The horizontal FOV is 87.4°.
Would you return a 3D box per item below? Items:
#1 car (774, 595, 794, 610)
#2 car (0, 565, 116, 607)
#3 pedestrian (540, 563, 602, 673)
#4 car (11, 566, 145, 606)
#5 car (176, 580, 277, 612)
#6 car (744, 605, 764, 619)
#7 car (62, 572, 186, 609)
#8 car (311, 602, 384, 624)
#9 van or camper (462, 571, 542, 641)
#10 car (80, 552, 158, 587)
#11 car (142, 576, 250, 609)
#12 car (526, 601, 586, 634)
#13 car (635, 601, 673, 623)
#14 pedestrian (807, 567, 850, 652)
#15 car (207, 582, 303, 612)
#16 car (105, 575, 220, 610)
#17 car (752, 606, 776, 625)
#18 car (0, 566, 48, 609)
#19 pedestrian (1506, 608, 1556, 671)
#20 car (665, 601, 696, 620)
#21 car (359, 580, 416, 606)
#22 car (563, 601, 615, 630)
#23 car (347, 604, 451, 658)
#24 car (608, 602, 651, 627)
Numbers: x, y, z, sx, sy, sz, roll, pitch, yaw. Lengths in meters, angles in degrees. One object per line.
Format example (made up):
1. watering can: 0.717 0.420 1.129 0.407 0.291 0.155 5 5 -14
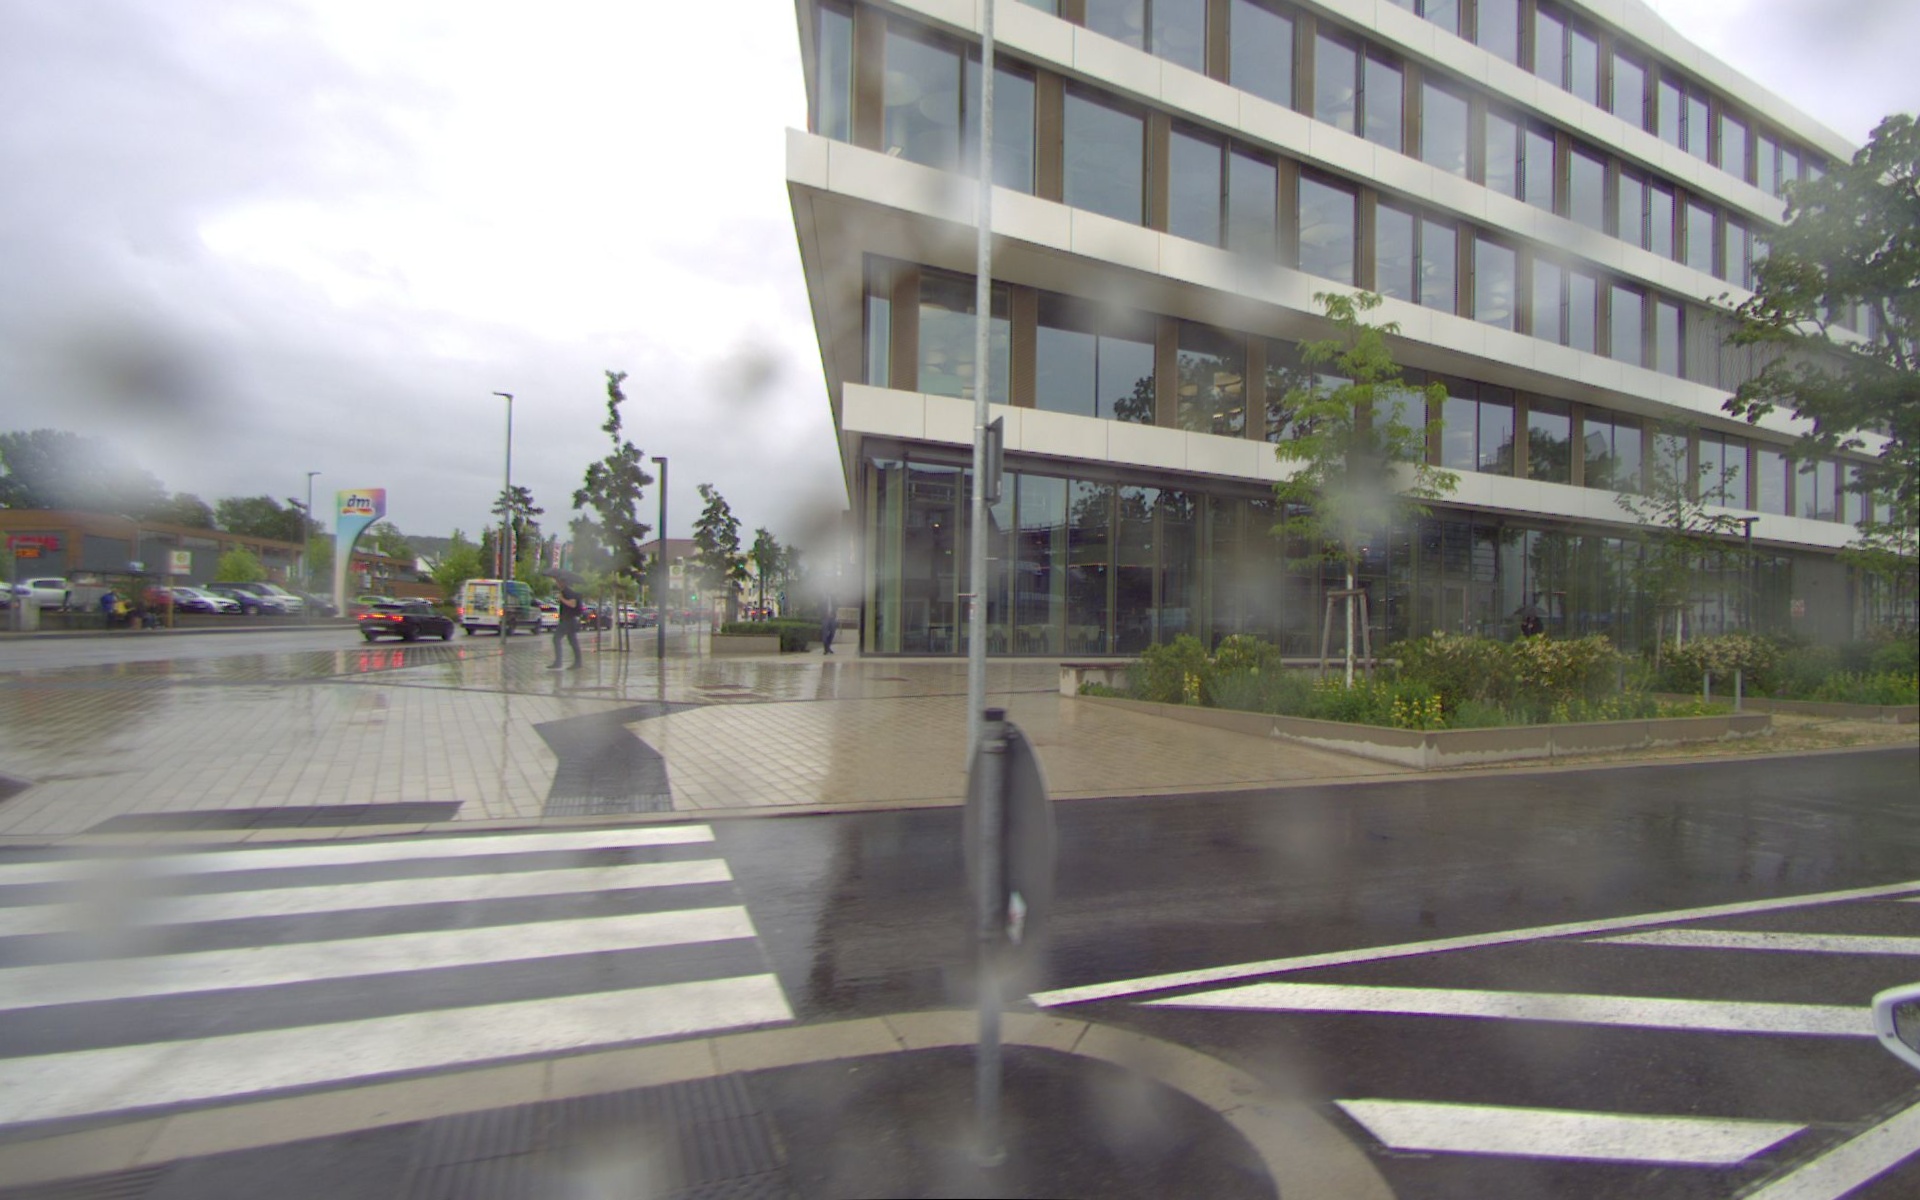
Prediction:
1. car: -23.705 0.309 135.525 1.962 1.884 3.998 4 1 -3
2. car: -37.178 -0.562 40.907 3.926 1.572 1.792 1 -1 -8
3. pedestrian: -7.432 0.349 19.199 0.921 2.040 0.886 1 0 -32
4. car: -37.564 -0.562 42.865 3.926 1.572 1.792 1 -1 -8
5. car: -38.895 -0.198 53.343 3.926 1.572 1.792 1 -1 -8
6. car: -28.289 1.673 138.109 1.961 1.606 3.999 4 1 -1
7. car: -37.976 -0.406 45.697 3.926 1.572 1.792 1 -1 -8
8. car: -42.753 0.895 70.218 3.933 1.416 1.994 2 -1 -15
9. van or camper: -21.851 0.241 48.123 1.963 3.129 5.095 1 1 -7
10. car: -52.955 -1.941 63.345 1.964 2.040 3.993 4 2 -9
11. car: -38.592 -0.367 50.823 3.926 1.572 1.792 1 -1 -8
12. car: -22.469 0.941 56.068 1.962 1.728 3.997 2 0 -5
13. car: -24.036 0.942 79.041 1.962 1.639 3.997 2 0 -5
14. pedestrian: -3.456 0.253 26.541 0.986 2.174 0.931 1 0 -2
15. car: -39.151 -0.137 55.872 3.926 1.572 1.792 1 -1 -8
16. car: -38.141 -0.342 48.120 3.926 1.572 1.792 1 -1 -8
17. car: -22.196 1.701 113.885 1.962 1.884 3.998 4 1 -3
18. car: -37.134 -0.485 37.665 3.926 1.572 1.850 1 -1 -8
19. pedestrian: 16.579 1.150 29.175 0.943 1.726 0.722 3 2 -25
20. car: -25.598 0.952 92.026 1.962 1.639 3.997 2 0 -5
21. car: -52.061 -0.674 91.441 3.926 2.040 1.998 4 1 -7
22. car: -22.961 0.941 62.342 1.962 1.639 3.997 2 0 -5
23. car: -20.940 1.107 37.689 1.963 1.751 3.995 2 2 -7
24. car: -23.456 0.989 71.407 1.962 1.639 3.997 2 0 -5
